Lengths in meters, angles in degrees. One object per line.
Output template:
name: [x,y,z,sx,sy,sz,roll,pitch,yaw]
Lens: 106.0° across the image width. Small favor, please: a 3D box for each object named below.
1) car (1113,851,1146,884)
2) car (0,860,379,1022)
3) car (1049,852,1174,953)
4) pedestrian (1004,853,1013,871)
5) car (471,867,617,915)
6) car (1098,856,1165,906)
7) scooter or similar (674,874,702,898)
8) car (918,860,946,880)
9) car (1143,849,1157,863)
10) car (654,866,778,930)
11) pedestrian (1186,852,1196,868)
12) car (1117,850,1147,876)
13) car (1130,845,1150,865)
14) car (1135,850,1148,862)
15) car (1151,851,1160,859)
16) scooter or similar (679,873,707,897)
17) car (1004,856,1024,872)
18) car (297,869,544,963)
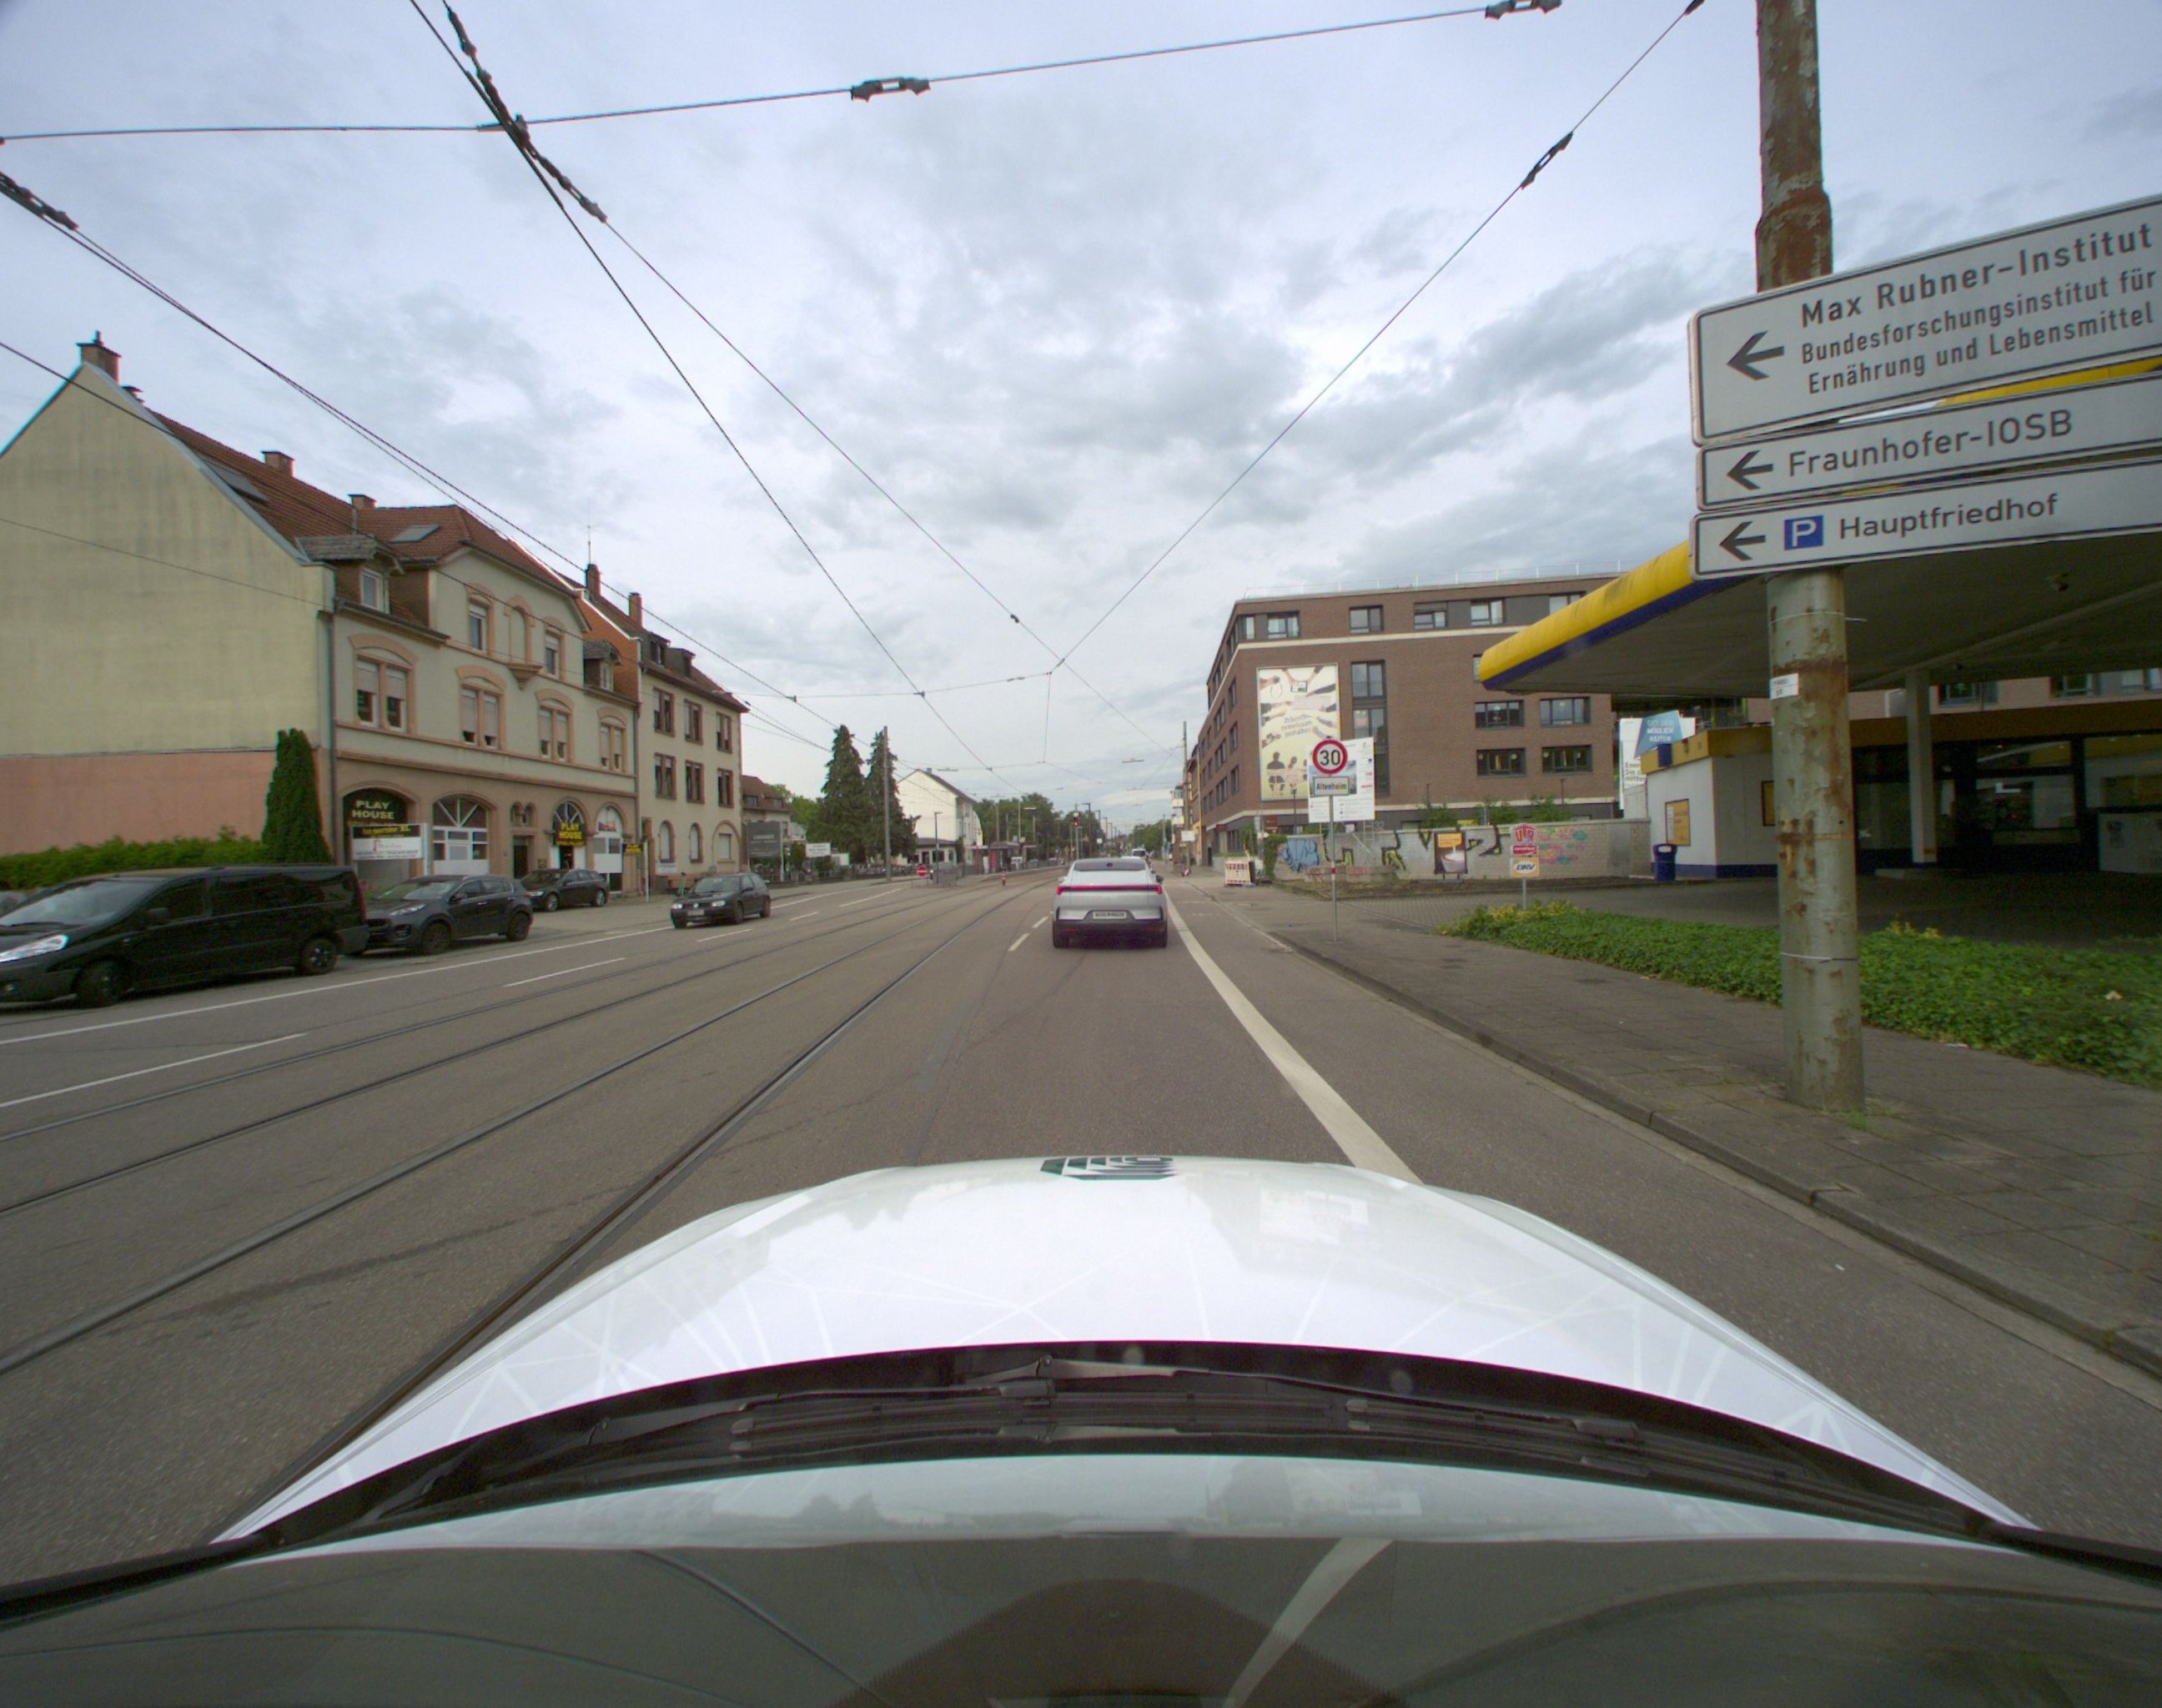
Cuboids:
car: [2.690,0.718,44.740,1.673,1.687,3.828,-1,-1,5]
car: [-14.144,1.104,12.681,1.981,2.014,5.182,0,-1,-1]
car: [0.493,0.802,15.040,1.993,1.581,3.999,-1,-1,0]
pedestrian: [-7.064,0.784,79.372,0.612,1.664,0.699,-1,-1,8]
car: [-19.186,1.262,29.431,1.987,1.493,4.901,-1,-1,0]
car: [1.637,0.828,26.609,1.985,1.420,4.003,-2,0,3]
scooter or similar: [-18.617,1.495,38.592,1.181,1.102,0.523,-1,-1,-30]
car: [-12.324,1.294,67.569,1.902,1.473,4.809,-3,0,-7]
car: [10.609,0.297,125.608,1.986,2.014,4.001,-1,-1,1]
car: [-10.299,1.188,23.314,1.786,1.530,4.136,-4,0,-3]
pedestrian: [12.947,0.679,96.026,0.955,1.850,0.978,-4,0,10]
car: [3.664,0.636,59.601,1.986,1.816,4.001,-2,0,1]
car: [7.416,0.156,103.420,2.218,2.402,5.124,-1,-1,1]
car: [10.063,0.331,136.068,1.986,2.014,4.001,-1,-1,1]
car: [23.868,0.240,260.908,2.794,2.505,5.729,-1,-1,4]
scooter or similar: [-18.796,1.505,39.410,1.181,1.102,0.523,-1,-1,-30]
car: [-8.657,1.260,105.507,1.876,1.988,4.528,-2,0,3]
car: [-14.642,1.269,18.485,2.032,1.749,4.530,0,0,-3]
